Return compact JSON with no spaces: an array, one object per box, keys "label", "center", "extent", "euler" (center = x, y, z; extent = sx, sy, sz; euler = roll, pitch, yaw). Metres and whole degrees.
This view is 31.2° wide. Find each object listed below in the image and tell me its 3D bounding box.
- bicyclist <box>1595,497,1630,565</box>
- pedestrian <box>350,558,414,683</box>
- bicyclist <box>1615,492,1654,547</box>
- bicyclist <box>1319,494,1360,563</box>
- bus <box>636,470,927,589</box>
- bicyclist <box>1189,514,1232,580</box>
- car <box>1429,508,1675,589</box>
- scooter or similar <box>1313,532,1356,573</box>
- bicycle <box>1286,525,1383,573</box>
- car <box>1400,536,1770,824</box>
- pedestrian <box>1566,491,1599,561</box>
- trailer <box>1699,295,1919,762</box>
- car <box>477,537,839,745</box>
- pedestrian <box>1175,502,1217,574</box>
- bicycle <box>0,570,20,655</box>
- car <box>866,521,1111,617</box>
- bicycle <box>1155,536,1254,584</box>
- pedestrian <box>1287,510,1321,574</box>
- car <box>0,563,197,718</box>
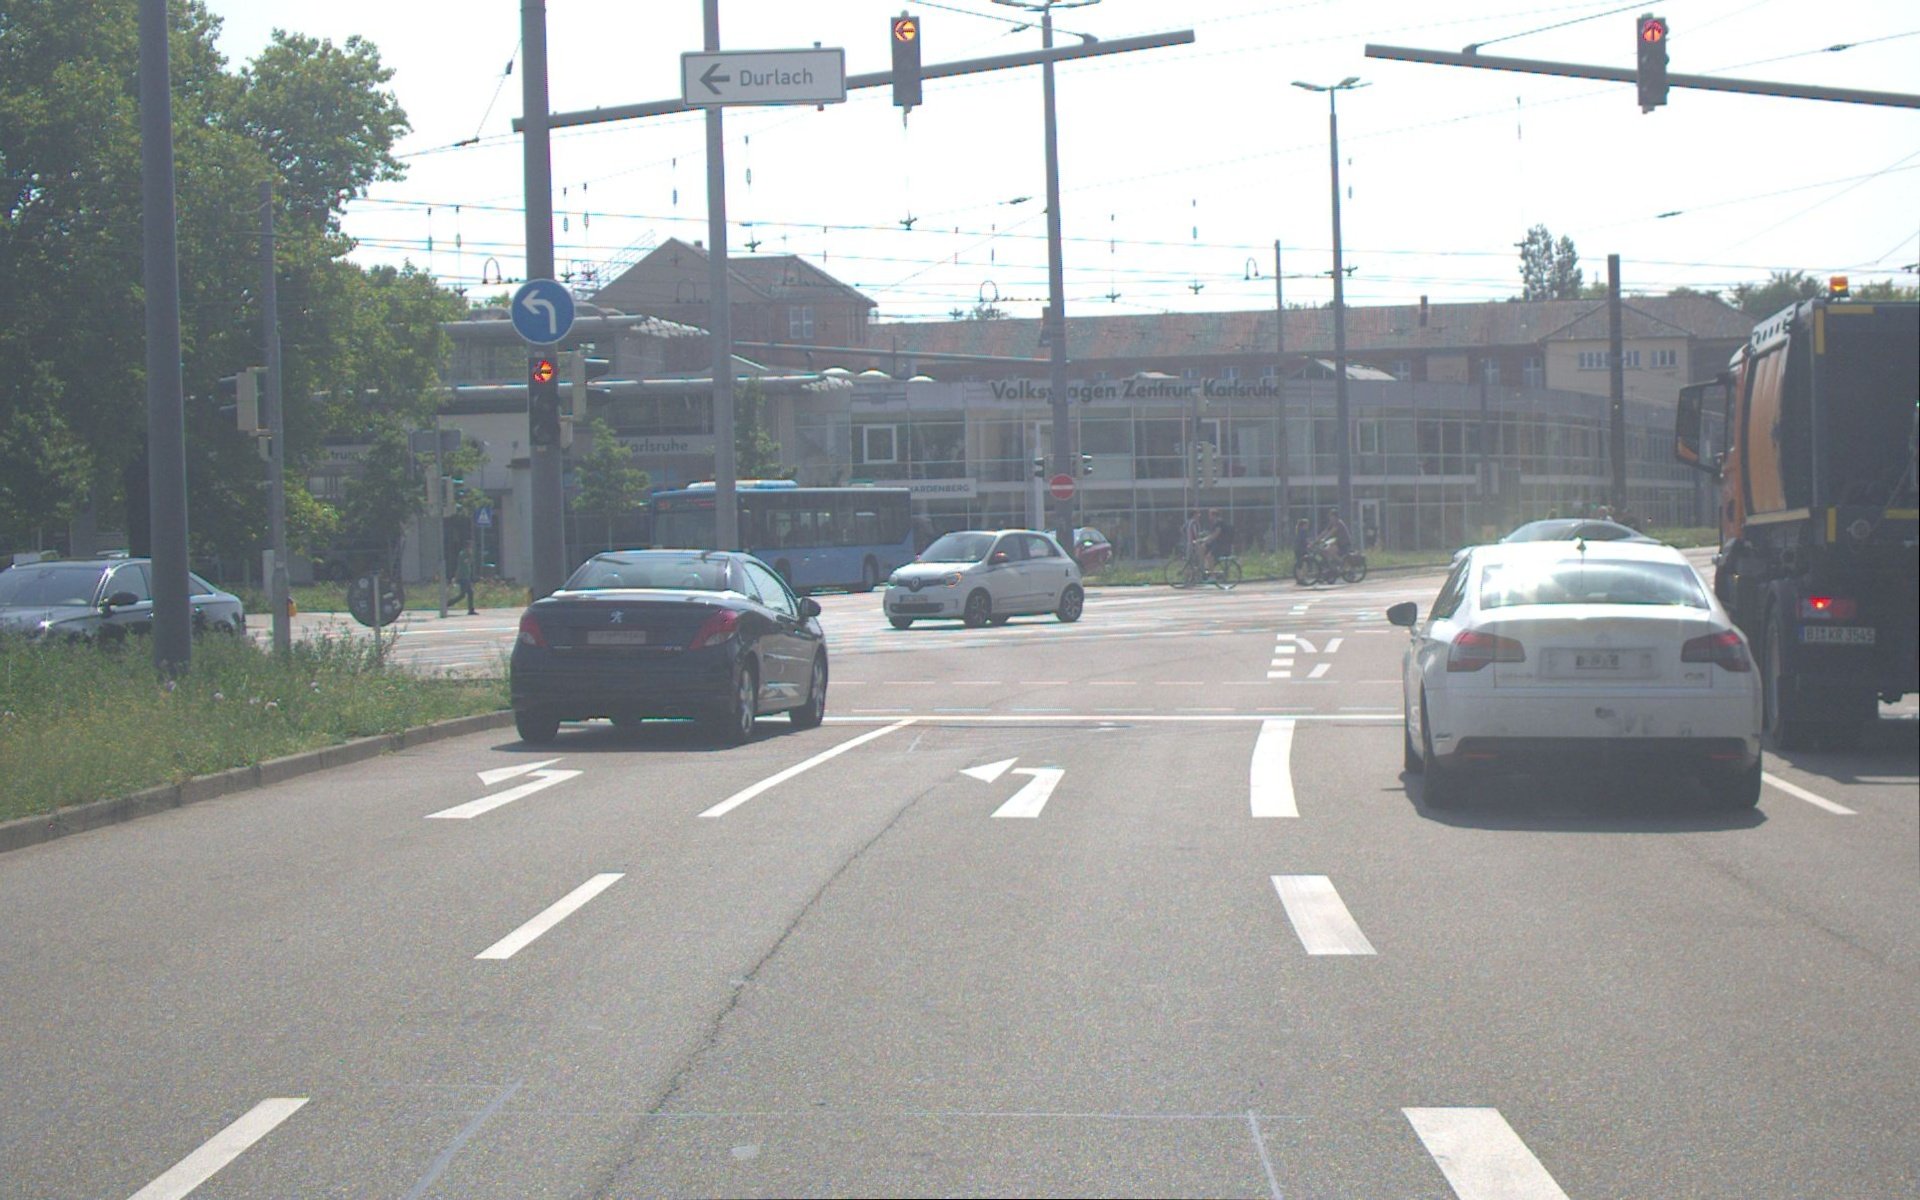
[{"label":"bicyclist","center":[14.641,-1.555,77.130],"extent":[0.664,1.503,0.714],"euler":[-1,1,16]},{"label":"pedestrian","center":[-6.077,0.213,36.134],"extent":[0.595,1.264,0.505],"euler":[-2,4,-13]},{"label":"bicyclist","center":[16.677,-1.981,85.023],"extent":[0.668,1.345,0.712],"euler":[-2,1,-20]},{"label":"bicyclist","center":[9.153,-1.720,82.990],"extent":[0.761,1.628,0.763],"euler":[-2,1,-10]},{"label":"bus","center":[-4.550,-1.937,91.613],"extent":[3.057,2.921,11.840],"euler":[-1,1,22]},{"label":"bicyclist","center":[5.974,-1.269,81.918],"extent":[0.797,1.536,0.763],"euler":[-2,1,-14]},{"label":"car","center":[11.267,-0.985,65.294],"extent":[4.573,1.395,1.946],"euler":[-2,1,-36]},{"label":"scooter or similar","center":[9.162,-1.161,84.170],"extent":[0.835,0.971,0.793],"euler":[-1,1,-9]},{"label":"bicycle","center":[9.040,-1.235,82.983],"extent":[2.196,1.083,0.763],"euler":[-2,1,-10]},{"label":"car","center":[3.511,0.376,19.981],"extent":[1.758,1.450,4.425],"euler":[0,1,6]},{"label":"pedestrian","center":[15.609,-1.859,86.243],"extent":[0.622,1.746,0.628],"euler":[-1,1,-6]},{"label":"trailer","center":[6.951,-0.532,25.165],"extent":[2.463,2.997,6.324],"euler":[0,1,7]},{"label":"car","center":[-2.156,0.250,25.633],"extent":[1.758,1.399,3.979],"euler":[0,1,9]},{"label":"pedestrian","center":[5.752,-1.512,83.637],"extent":[0.784,1.746,0.808],"euler":[-1,1,20]},{"label":"bicycle","center":[-13.685,0.195,46.062],"extent":[0.698,1.133,2.039],"euler":[-1,1,40]},{"label":"car","center":[0.493,-0.514,54.992],"extent":[1.774,1.420,4.058],"euler":[-1,1,39]},{"label":"bicycle","center":[5.828,-0.950,81.886],"extent":[2.196,1.083,0.763],"euler":[-2,1,-14]},{"label":"pedestrian","center":[8.407,-1.418,84.037],"extent":[0.635,1.555,0.748],"euler":[-1,1,-9]},{"label":"car","center":[-9.354,0.371,34.799],"extent":[1.770,1.406,4.766],"euler":[-1,1,5]}]
